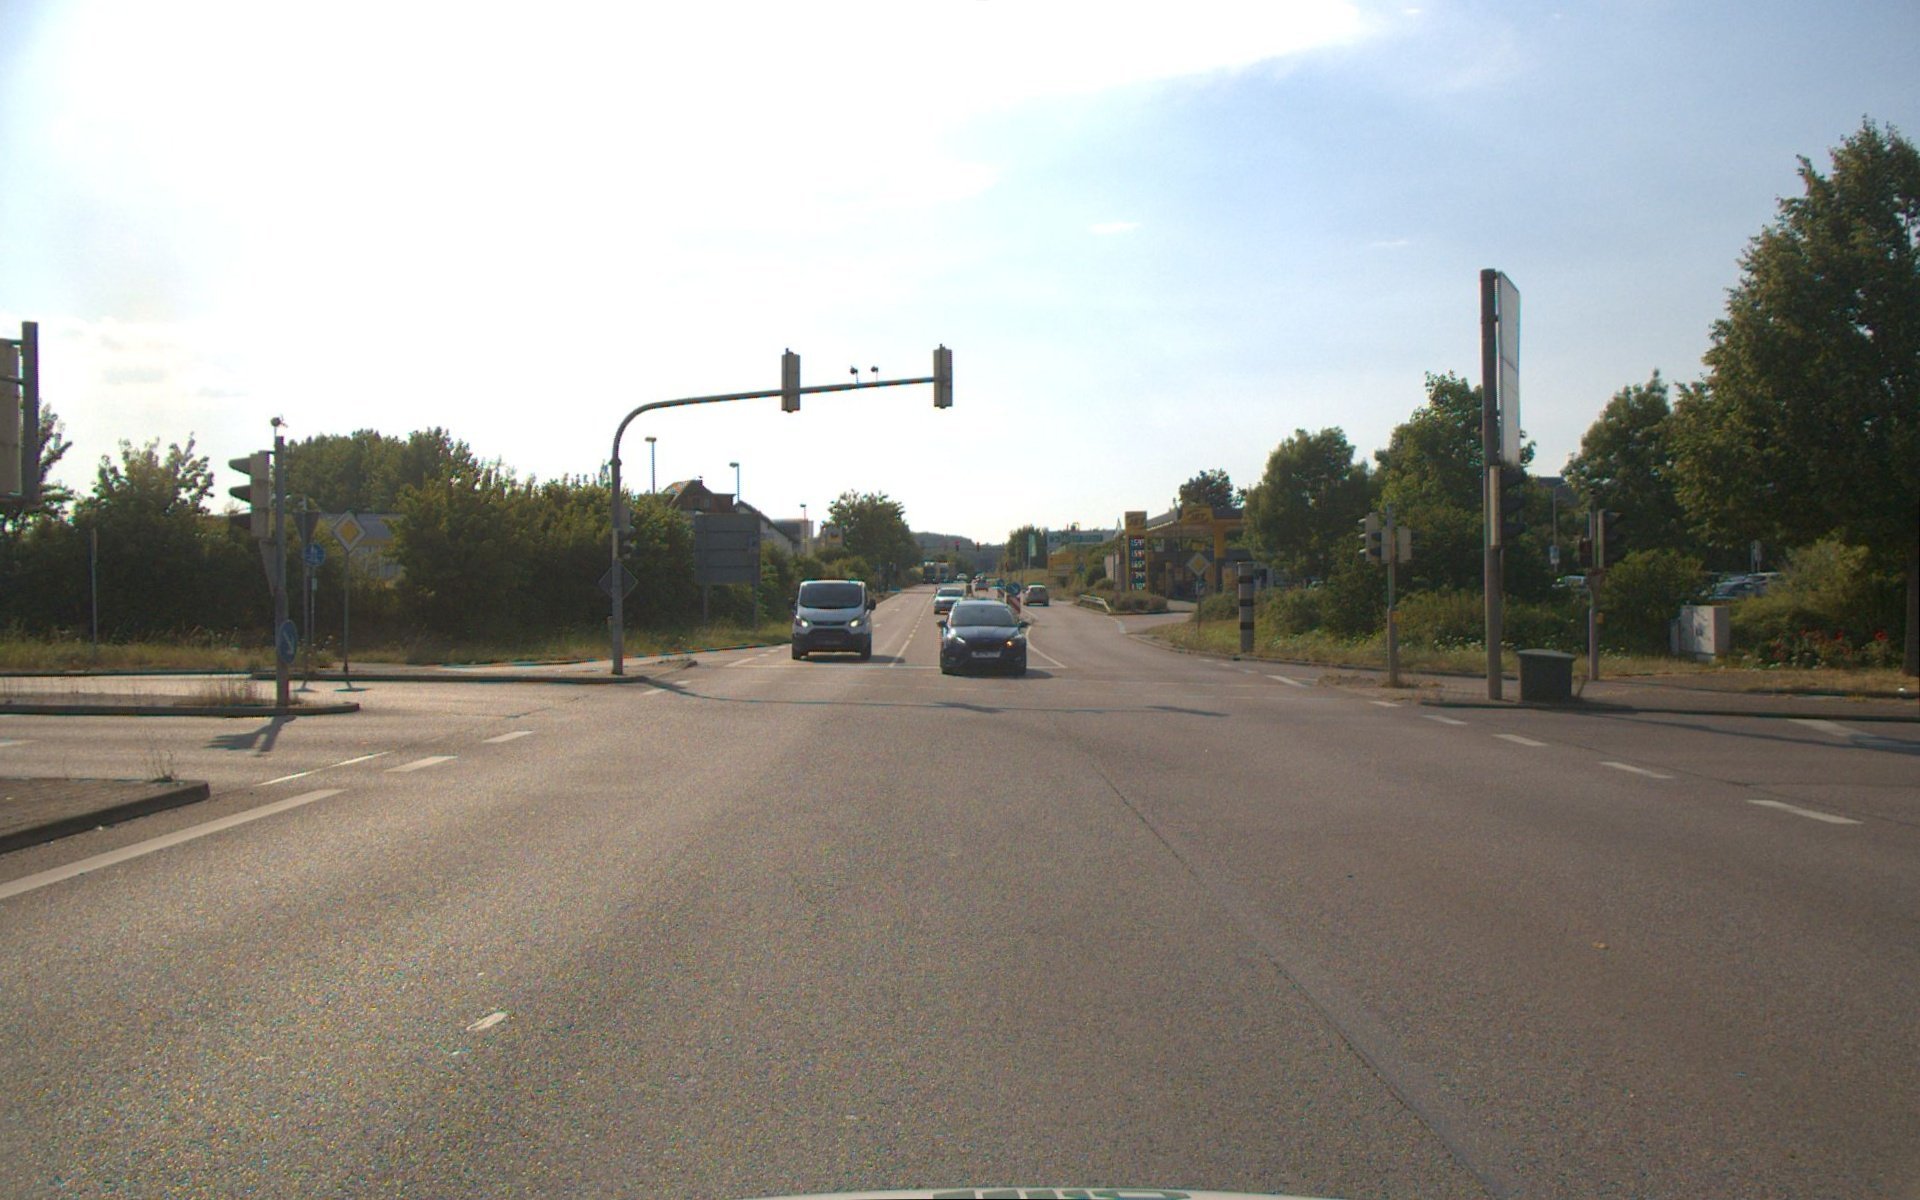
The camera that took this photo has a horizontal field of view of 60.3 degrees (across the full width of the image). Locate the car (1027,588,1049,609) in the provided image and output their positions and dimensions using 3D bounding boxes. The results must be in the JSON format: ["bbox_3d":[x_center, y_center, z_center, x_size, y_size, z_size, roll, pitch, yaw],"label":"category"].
[{"bbox_3d":[5.684,-0.129,120.557,1.518,1.474,3.050,1,-1,1],"label":"car"}]

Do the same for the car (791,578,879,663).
[{"bbox_3d":[-3.175,0.465,42.770,1.861,1.981,4.818,1,1,0],"label":"car"}]

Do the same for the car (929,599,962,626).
[{"bbox_3d":[-0.868,0.741,96.198,1.819,1.540,4.952,1,-1,-1],"label":"car"}]

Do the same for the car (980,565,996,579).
[{"bbox_3d":[4.251,-4.221,252.126,1.954,2.049,3.996,1,-1,-5],"label":"car"}]

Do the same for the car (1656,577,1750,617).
[{"bbox_3d":[41.548,-0.164,92.465,4.847,2.049,1.987,2,-1,-22],"label":"car"}]

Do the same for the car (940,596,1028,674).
[{"bbox_3d":[0.547,0.729,35.470,1.751,1.524,4.303,1,-1,2],"label":"car"}]

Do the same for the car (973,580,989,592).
[{"bbox_3d":[2.584,-1.678,203.190,1.707,1.376,3.200,1,-1,-5],"label":"car"}]
